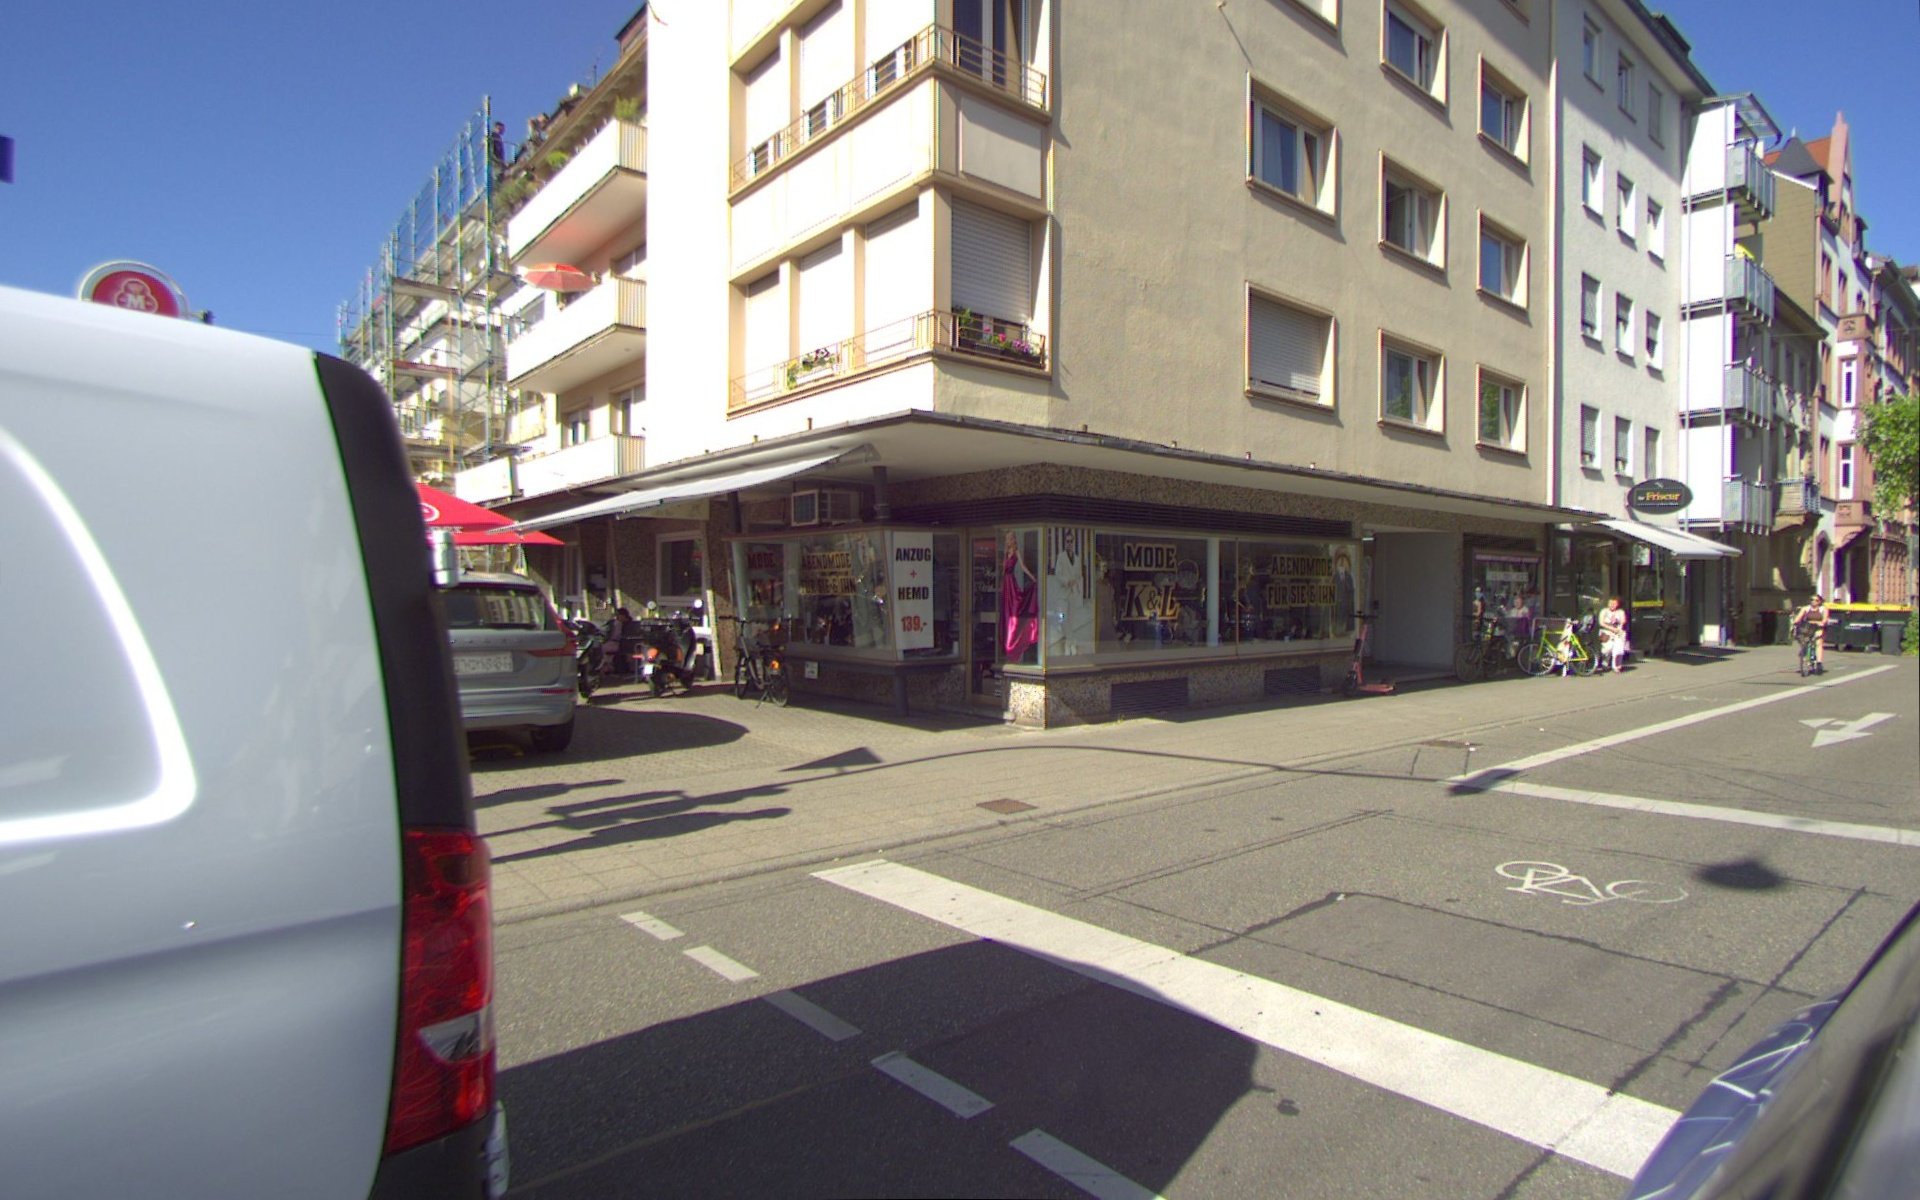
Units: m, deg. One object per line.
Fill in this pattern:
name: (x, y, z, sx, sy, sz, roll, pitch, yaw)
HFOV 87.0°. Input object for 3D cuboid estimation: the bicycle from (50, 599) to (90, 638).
bicycle: (-23.324, 0.474, 26.512, 1.998, 0.962, 0.644, 1, 1, 44)

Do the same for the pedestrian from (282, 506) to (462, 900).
pedestrian: (-2.994, 0.476, 5.163, 0.624, 1.845, 0.598, 0, 0, 36)

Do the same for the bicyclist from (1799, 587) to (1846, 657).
bicyclist: (17.443, 0.432, 20.479, 0.652, 1.394, 0.583, 0, 0, -35)

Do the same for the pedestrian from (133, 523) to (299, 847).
pedestrian: (-4.412, 0.461, 6.044, 0.748, 1.780, 0.664, -1, 0, -35)

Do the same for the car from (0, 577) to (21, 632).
car: (-27.474, 0.095, 28.177, 1.683, 1.472, 3.996, 0, 1, -39)

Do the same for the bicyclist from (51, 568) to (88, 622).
bicyclist: (-23.299, -0.130, 26.481, 0.881, 1.381, 0.644, 0, 0, 44)

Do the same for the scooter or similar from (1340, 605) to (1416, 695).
scooter or similar: (6.073, 0.701, 14.684, 1.207, 1.240, 0.527, 0, 0, -40)

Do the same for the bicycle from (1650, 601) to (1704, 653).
bicycle: (17.064, 0.626, 24.072, 1.742, 1.157, 0.598, 0, 3, -40)

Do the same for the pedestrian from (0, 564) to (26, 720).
pedestrian: (-10.376, 0.437, 10.766, 0.635, 1.638, 0.593, 0, 0, -45)

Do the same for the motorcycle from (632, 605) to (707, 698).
motorcycle: (-4.070, 0.681, 14.310, 0.556, 1.181, 2.015, 0, 1, -3)

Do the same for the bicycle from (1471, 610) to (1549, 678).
bicycle: (9.590, 0.739, 17.627, 1.766, 1.098, 0.408, 0, 3, -35)

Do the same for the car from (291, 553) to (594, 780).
car: (-5.081, 0.463, 9.644, 1.793, 1.683, 3.996, 0, 1, -39)

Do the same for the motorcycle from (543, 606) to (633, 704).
motorcycle: (-4.966, 0.698, 13.620, 0.556, 1.181, 2.015, 0, 1, -3)

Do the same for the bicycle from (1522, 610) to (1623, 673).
bicycle: (11.506, 0.767, 19.058, 1.475, 1.120, 0.719, 0, 0, 19)

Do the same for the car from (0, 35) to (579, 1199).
car: (-2.893, 0.422, 0.428, 4.749, 1.833, 1.971, -1, 1, -42)

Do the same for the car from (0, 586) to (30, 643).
car: (-24.180, 0.332, 24.900, 1.683, 1.331, 3.995, 0, 1, -40)

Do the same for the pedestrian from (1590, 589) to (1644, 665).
pedestrian: (13.017, 0.520, 20.055, 0.615, 1.460, 0.774, 0, 0, -44)

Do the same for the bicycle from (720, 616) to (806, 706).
bicycle: (-2.604, 0.760, 13.216, 0.556, 1.030, 1.897, 0, 1, -28)

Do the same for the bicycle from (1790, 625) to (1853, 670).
bicycle: (17.444, 0.949, 20.480, 1.677, 0.816, 0.583, 0, 1, -36)
